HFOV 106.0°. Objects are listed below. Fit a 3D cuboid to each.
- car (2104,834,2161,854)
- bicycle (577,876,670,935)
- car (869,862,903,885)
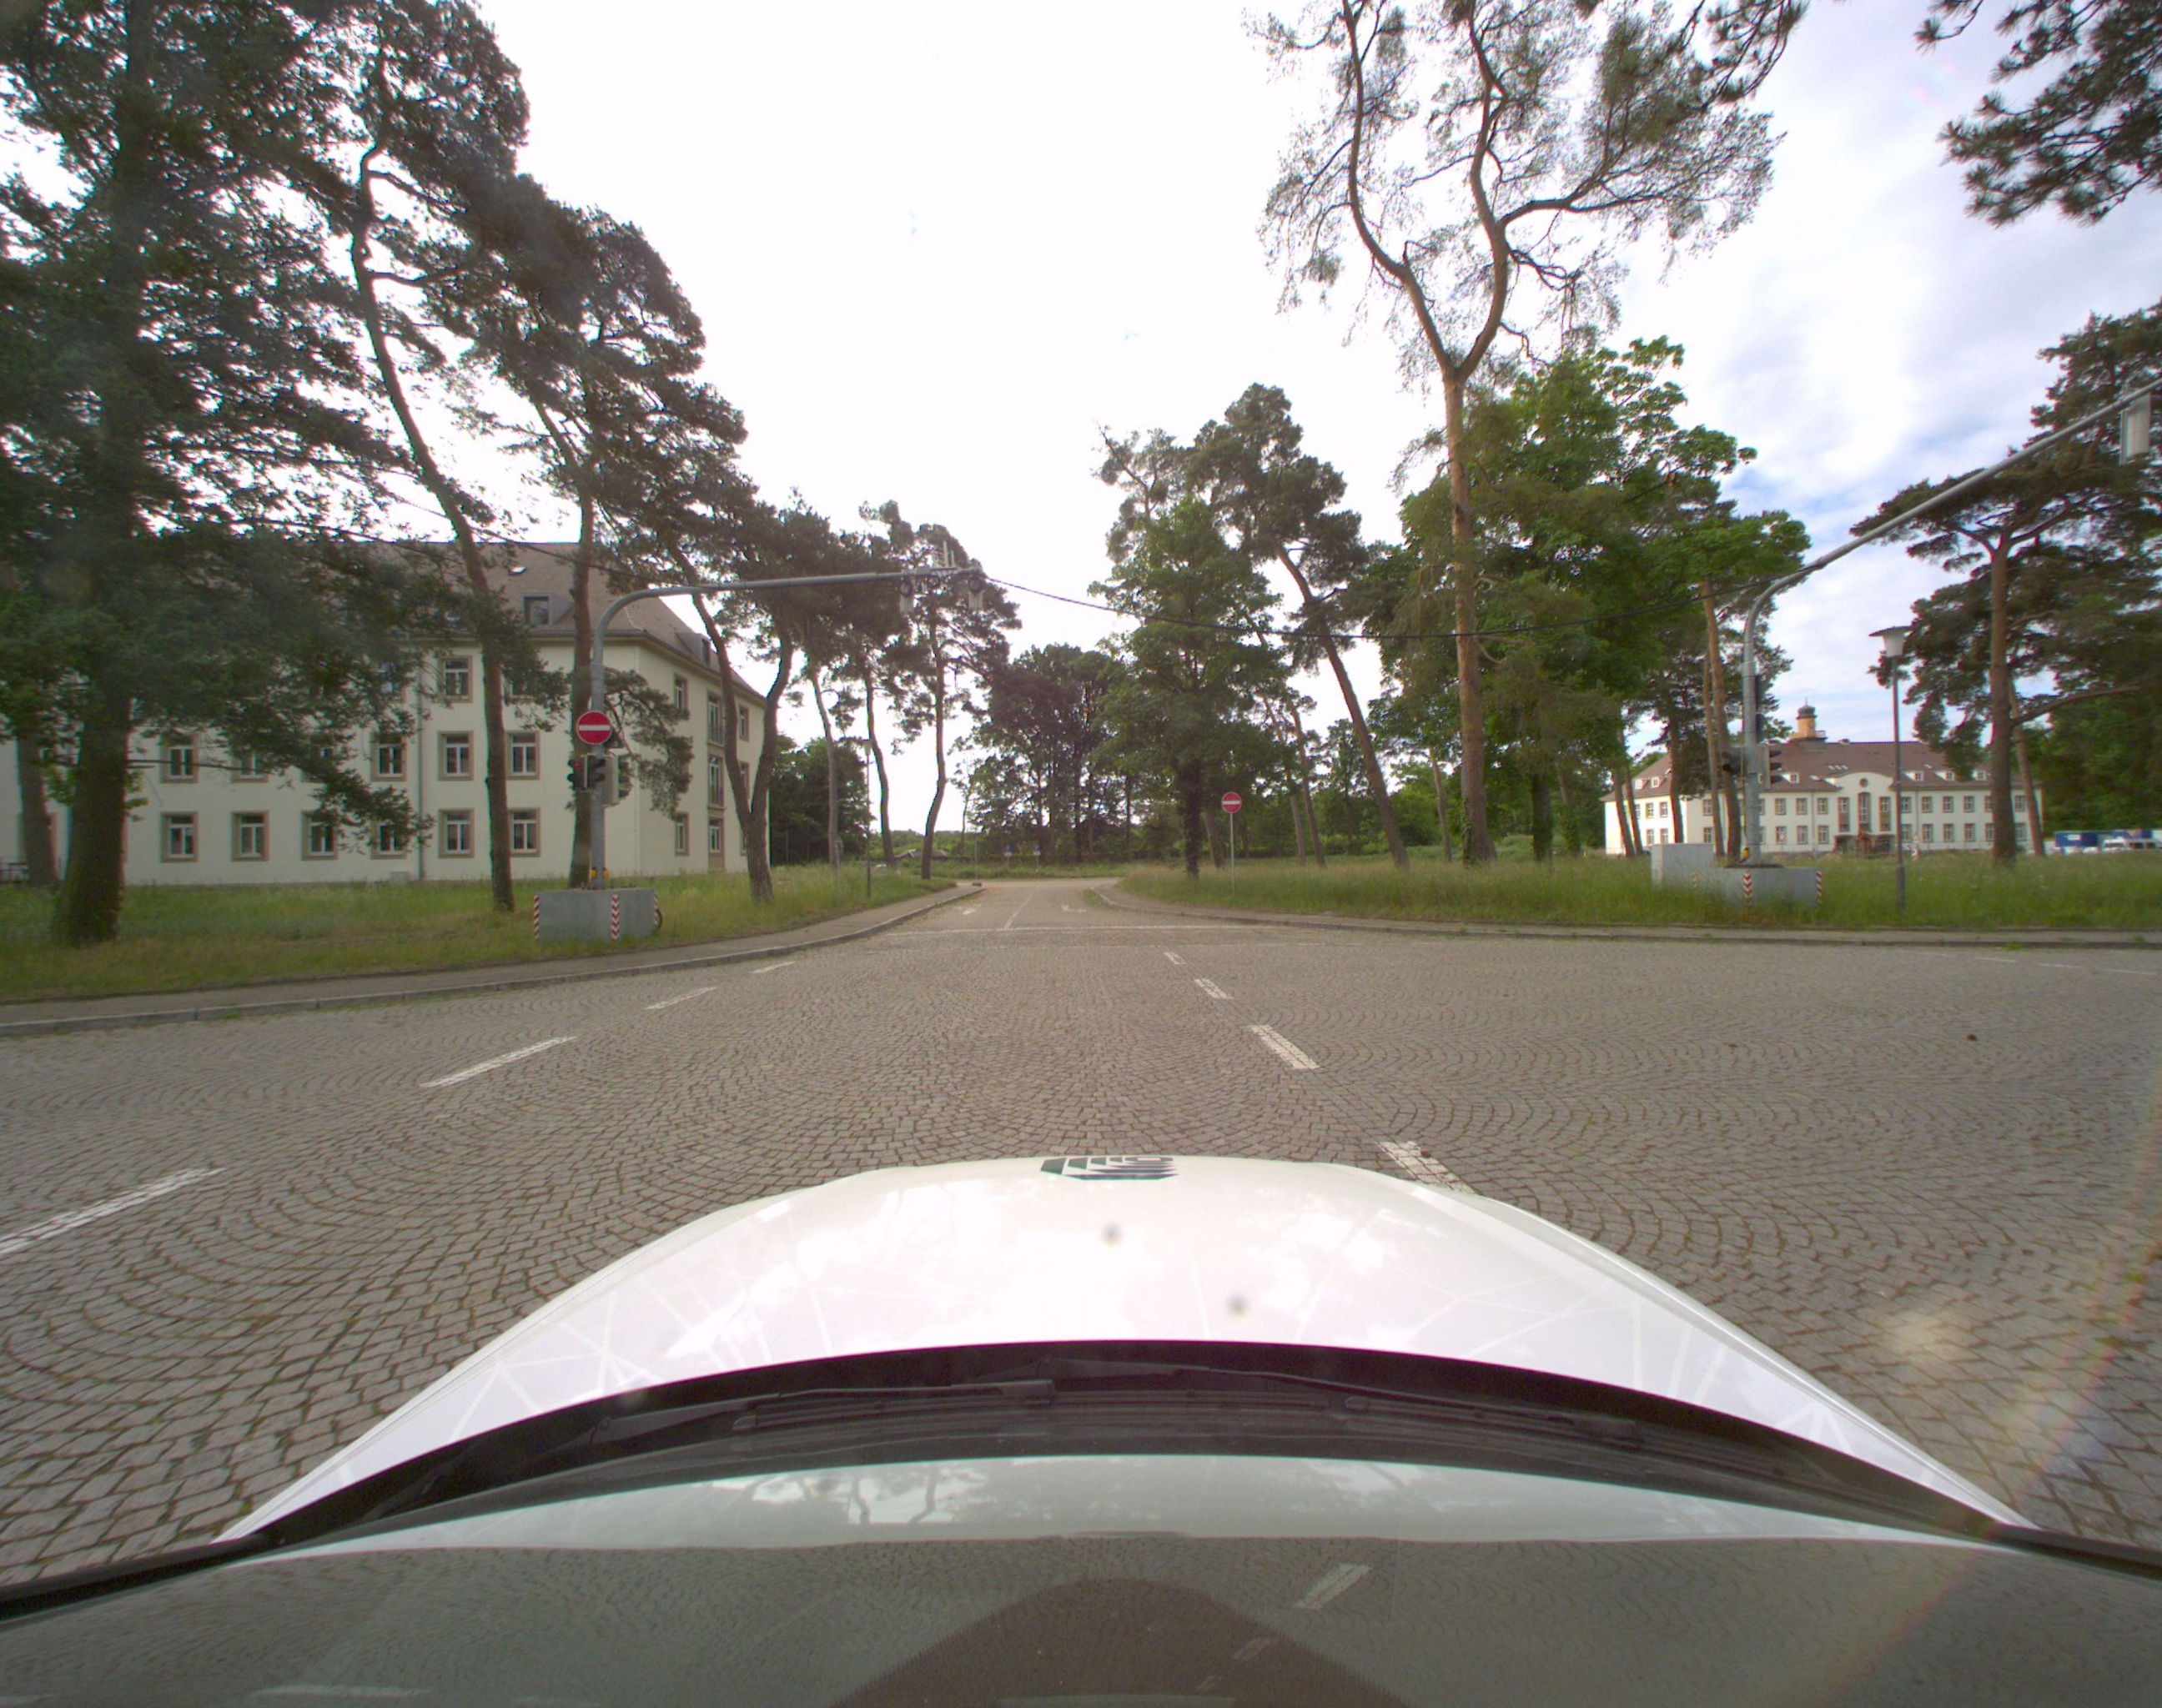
[{"bbox_3d":[105.735,-0.969,81.696,4.053,1.905,1.926,1,-1,-4],"label":"car"},{"bbox_3d":[-8.889,0.998,15.864,1.461,1.065,0.515,-1,1,-4],"label":"bicycle"},{"bbox_3d":[-15.686,1.545,65.666,1.990,1.846,3.994,1,-1,-4],"label":"car"}]
